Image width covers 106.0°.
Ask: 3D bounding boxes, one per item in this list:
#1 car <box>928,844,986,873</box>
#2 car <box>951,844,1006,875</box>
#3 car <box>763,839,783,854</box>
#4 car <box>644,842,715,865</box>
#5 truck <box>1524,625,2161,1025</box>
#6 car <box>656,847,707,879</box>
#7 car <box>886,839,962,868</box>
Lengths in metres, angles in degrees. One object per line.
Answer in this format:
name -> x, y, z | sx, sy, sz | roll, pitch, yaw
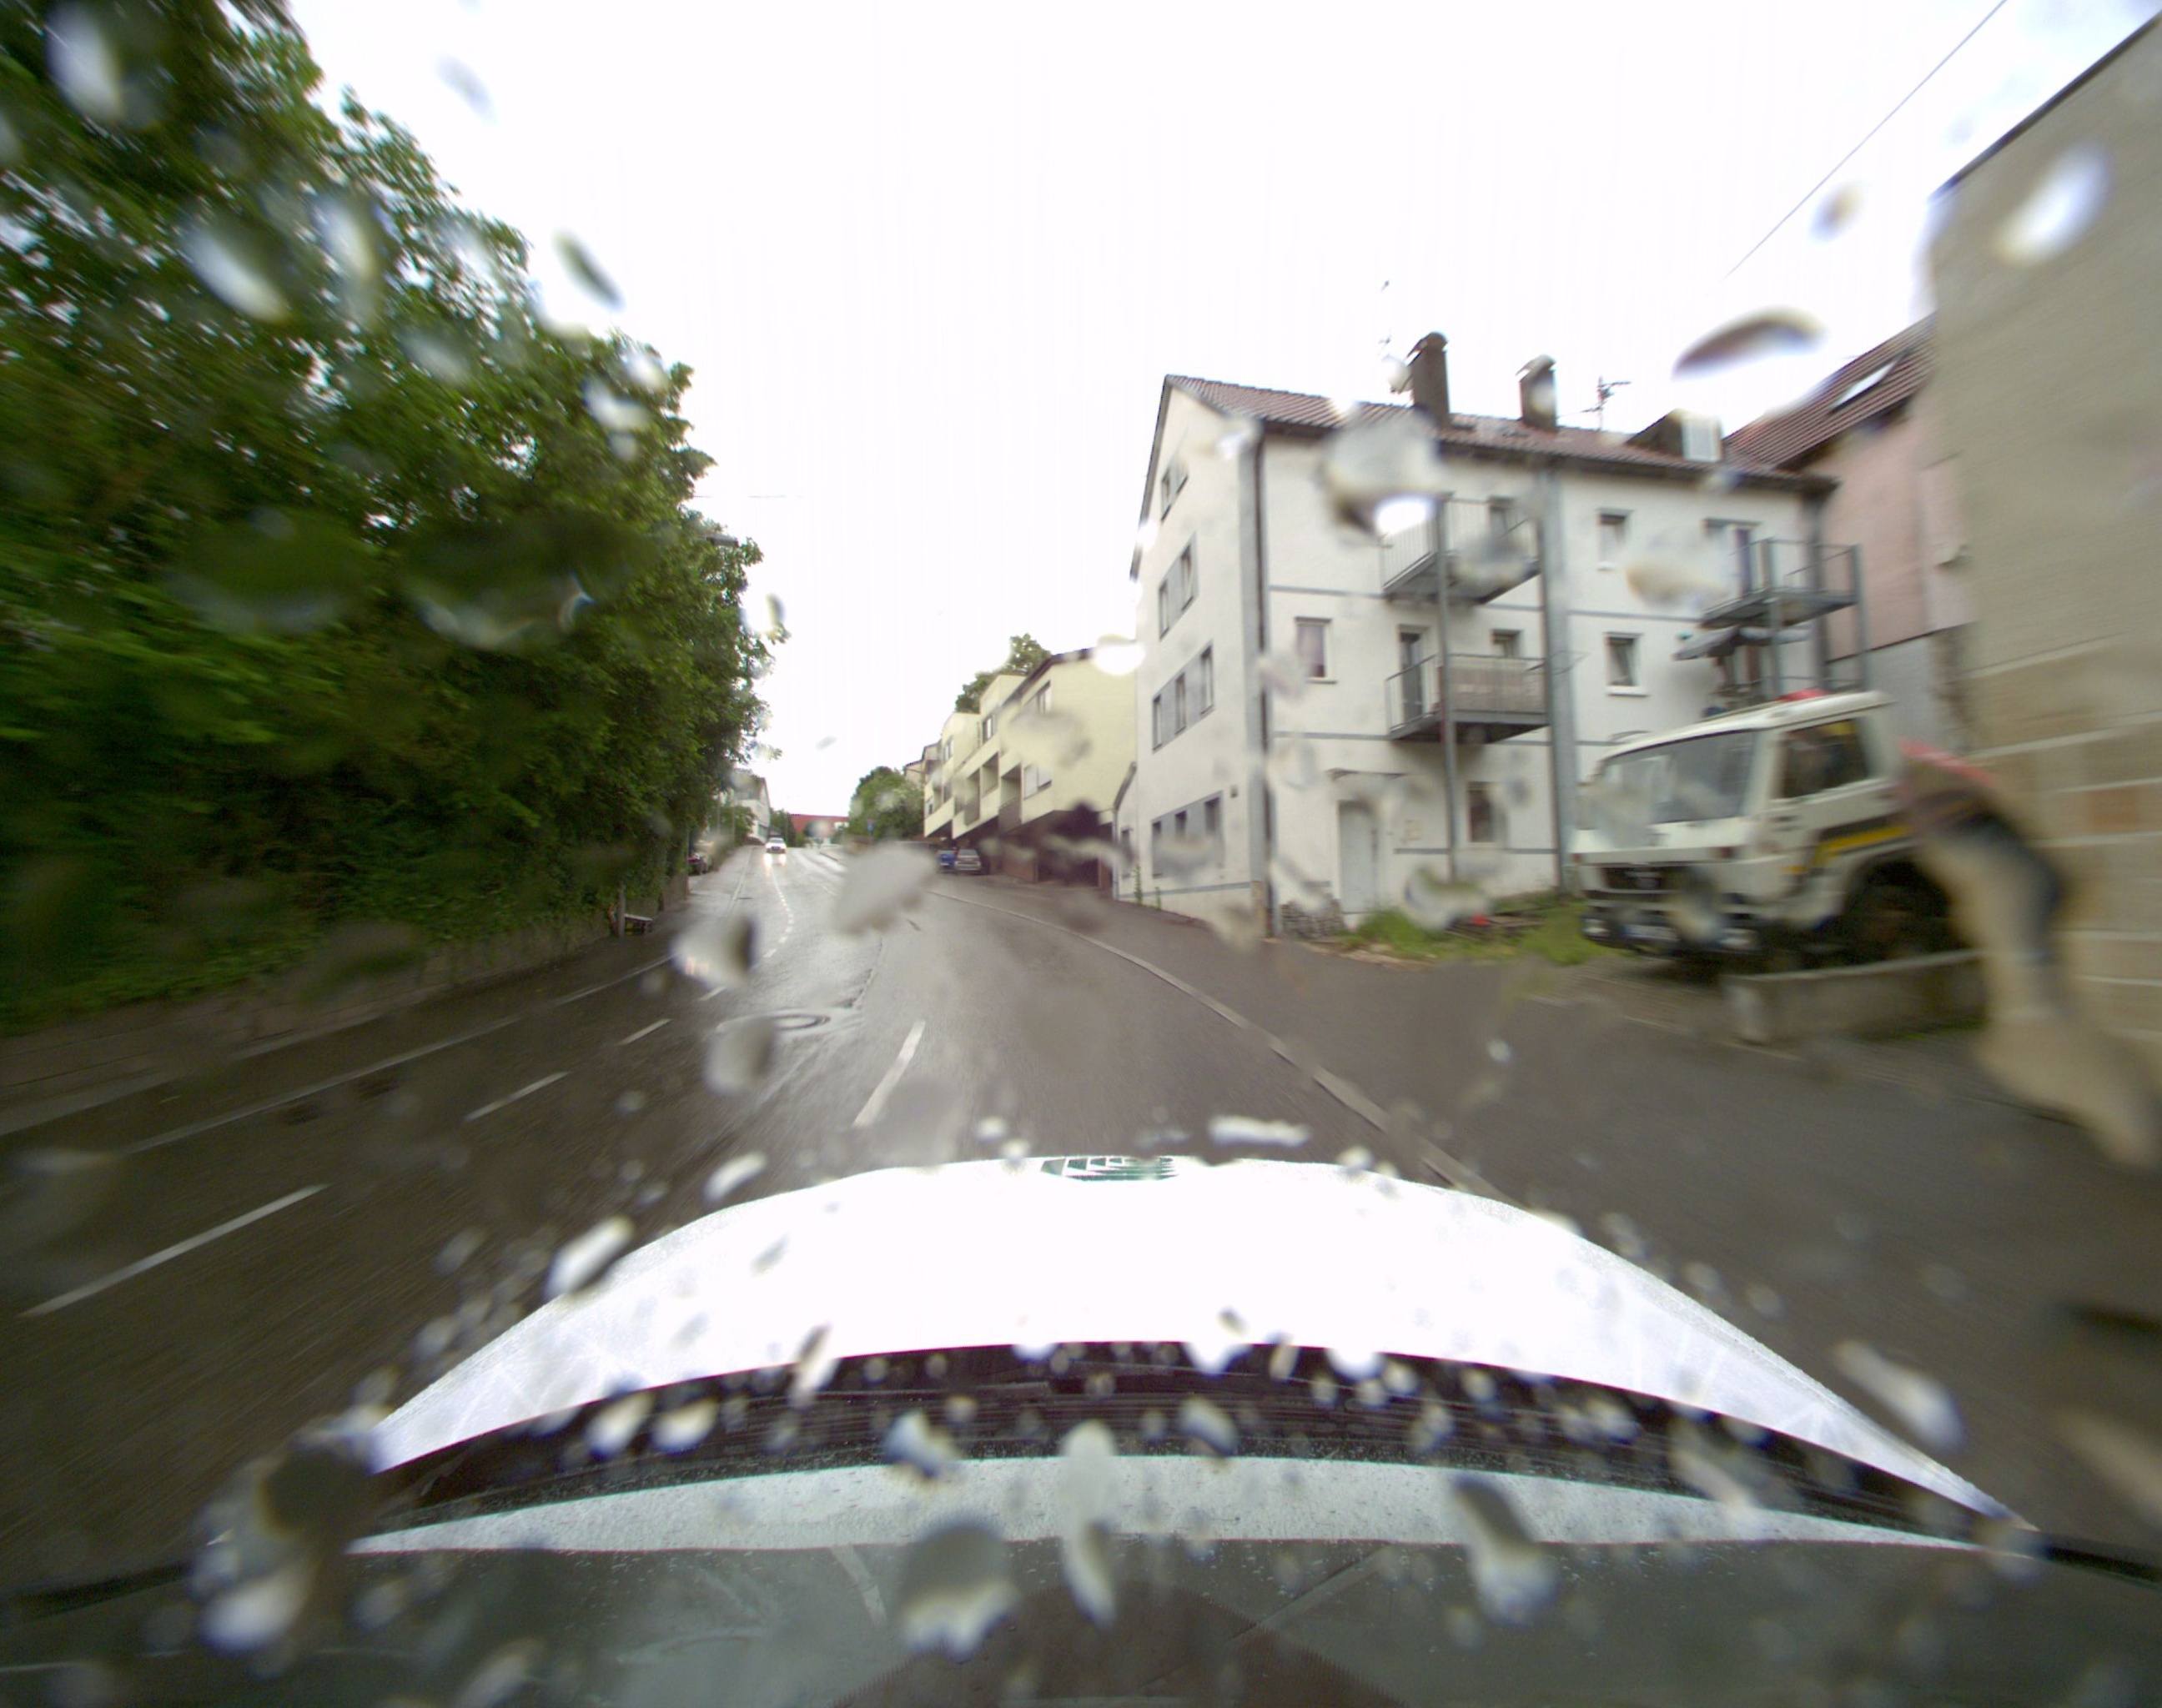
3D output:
car -> -7.252, 0.222, 48.129 | 1.768, 1.578, 4.084 | 2, 1, 16
car -> -5.632, 0.276, 45.285 | 1.770, 1.578, 4.079 | 2, 1, 11
car -> -30.972, -0.771, 81.888 | 1.708, 1.387, 4.024 | -3, 2, -19
car -> -27.744, -0.082, 56.357 | 3.987, 1.505, 1.894 | -1, 1, -10
truck -> 8.079, -0.449, 7.532 | 6.952, 2.702, 2.135 | -6, 1, -8
car -> -21.097, 0.416, 43.185 | 1.901, 1.441, 4.416 | -3, 2, -20
car -> -10.551, -0.042, 54.637 | 4.727, 1.820, 1.985 | -1, 2, -23
